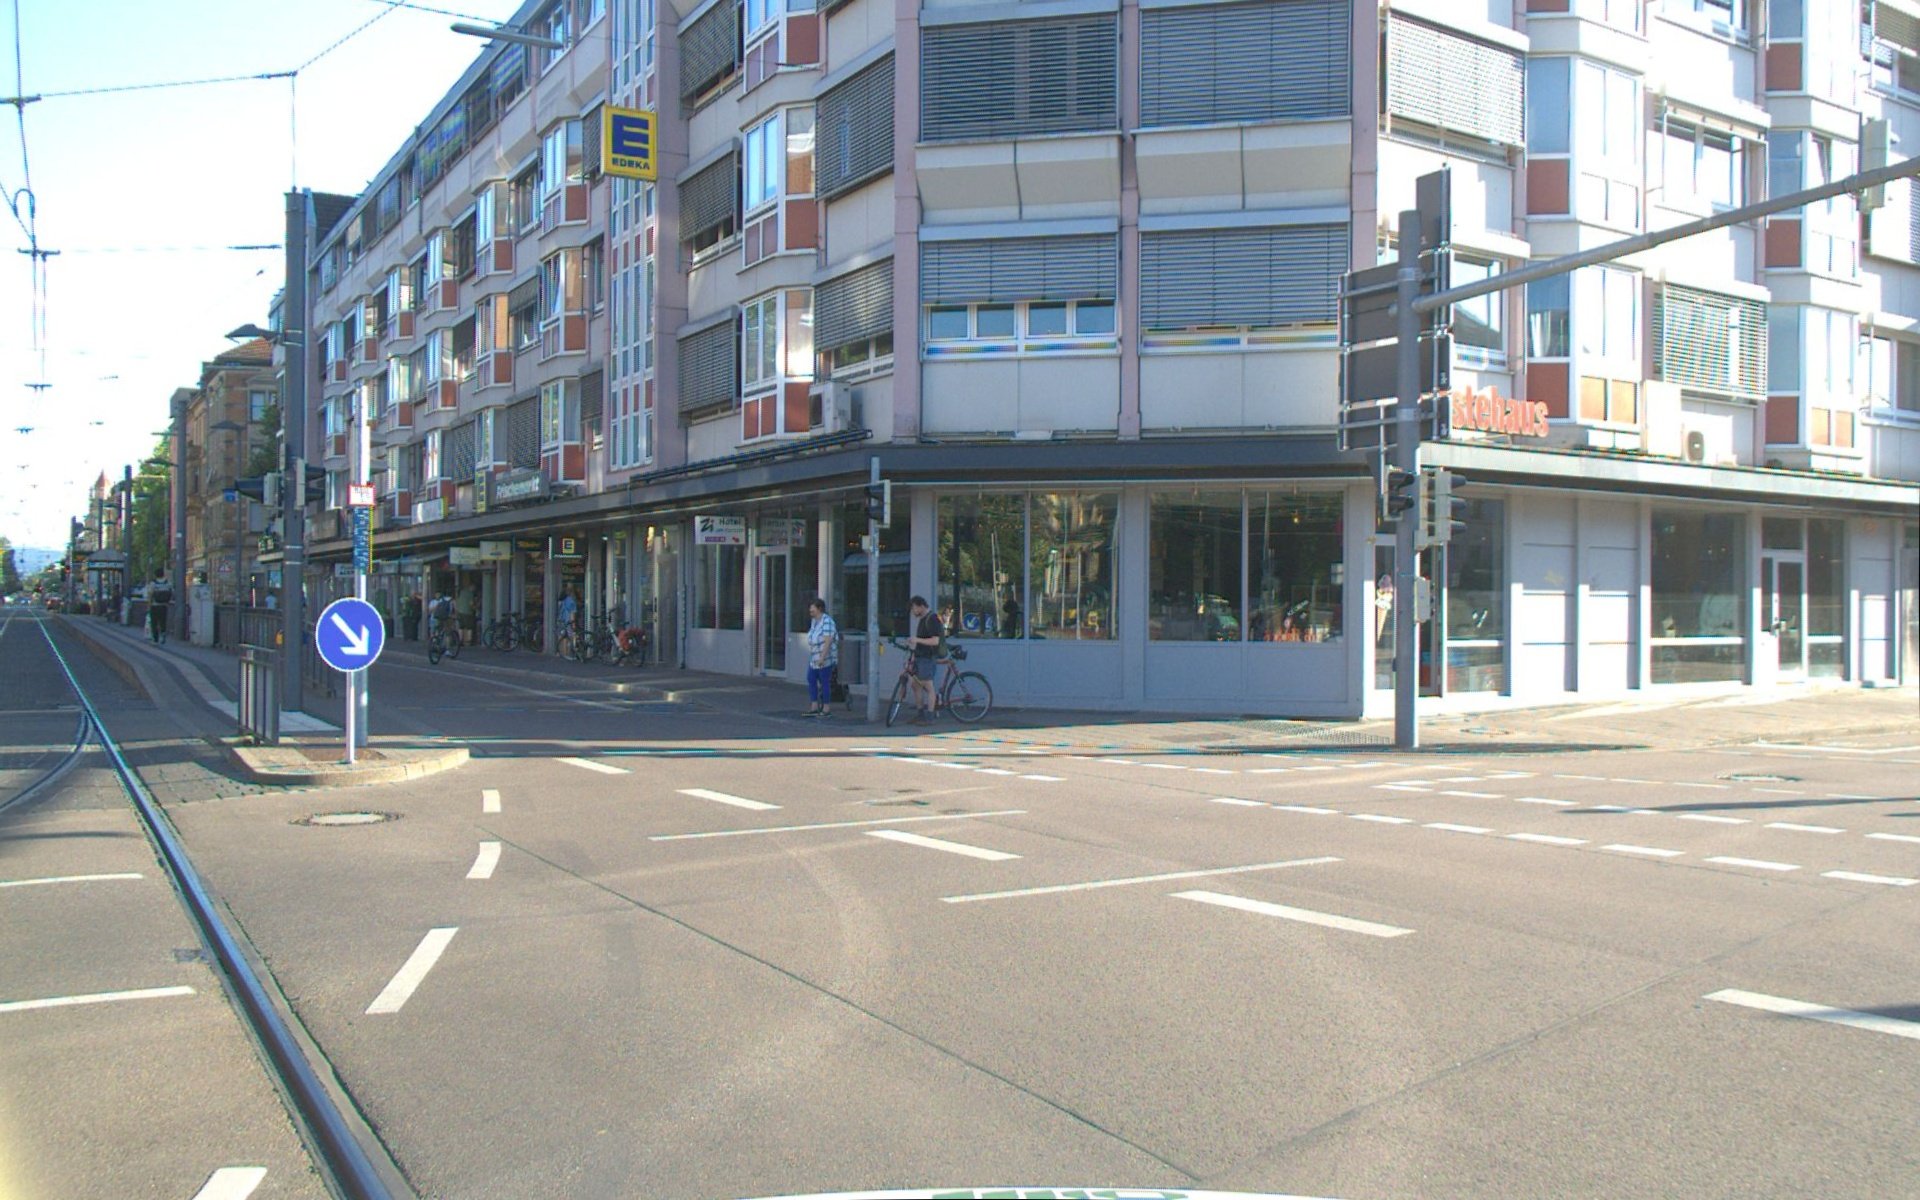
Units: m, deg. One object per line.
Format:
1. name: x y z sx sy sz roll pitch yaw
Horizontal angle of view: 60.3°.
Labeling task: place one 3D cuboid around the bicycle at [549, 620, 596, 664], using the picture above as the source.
1. bicycle: -8.783 0.930 37.431 0.494 0.933 2.058 1 0 -29

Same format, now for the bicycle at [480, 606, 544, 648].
1. bicycle: -12.465 0.754 46.029 1.630 1.138 0.559 0 1 -36

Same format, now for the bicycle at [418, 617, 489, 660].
1. bicycle: -12.783 0.958 41.785 0.614 0.946 1.910 -1 2 23

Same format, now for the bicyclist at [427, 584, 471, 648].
1. bicyclist: -12.865 0.397 41.644 0.614 1.559 0.802 -1 2 22

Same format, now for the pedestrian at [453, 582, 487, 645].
1. pedestrian: -14.411 0.398 48.619 0.802 1.809 0.679 1 1 -5

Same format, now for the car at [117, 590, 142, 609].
1. car: -76.215 -0.063 151.771 1.971 1.579 3.964 1 1 -28

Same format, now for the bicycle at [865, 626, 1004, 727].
1. bicycle: -0.321 0.983 21.755 1.747 1.165 0.634 -3 3 -32

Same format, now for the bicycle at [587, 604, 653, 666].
1. bicycle: -7.188 0.726 34.887 0.719 1.248 2.310 1 0 -29

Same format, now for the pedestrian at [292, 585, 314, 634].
1. pedestrian: -27.920 0.383 70.288 0.828 2.048 0.771 1 1 -26

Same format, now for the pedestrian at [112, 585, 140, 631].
1. pedestrian: -30.975 0.286 61.419 0.774 1.688 0.674 0 1 -41

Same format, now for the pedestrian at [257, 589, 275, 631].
1. pedestrian: -33.993 0.485 81.022 0.763 2.048 0.500 1 1 -27

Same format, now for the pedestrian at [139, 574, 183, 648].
1. pedestrian: -18.754 0.253 38.801 0.774 1.688 0.674 0 1 -41

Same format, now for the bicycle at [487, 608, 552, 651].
1. bicycle: -11.900 0.796 44.726 1.630 1.138 0.478 0 1 -36

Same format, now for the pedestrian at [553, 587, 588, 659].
1. pedestrian: -9.242 0.539 39.261 0.596 1.664 0.604 1 1 11

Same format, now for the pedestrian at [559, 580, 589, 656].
1. pedestrian: -9.674 0.442 41.493 0.601 1.884 0.599 1 1 -25

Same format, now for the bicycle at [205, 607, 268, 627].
1. bicycle: -39.186 0.916 89.655 0.882 1.010 3.165 2 1 32

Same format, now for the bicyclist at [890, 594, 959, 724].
1. bicyclist: -0.464 0.758 21.657 0.649 1.624 0.634 -3 3 -31

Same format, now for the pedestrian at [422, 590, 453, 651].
1. pedestrian: -14.567 0.576 46.074 0.741 1.673 0.546 1 1 -26

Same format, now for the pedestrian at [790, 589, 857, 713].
1. pedestrian: -1.900 0.702 23.035 0.701 1.691 0.632 0 -1 31
